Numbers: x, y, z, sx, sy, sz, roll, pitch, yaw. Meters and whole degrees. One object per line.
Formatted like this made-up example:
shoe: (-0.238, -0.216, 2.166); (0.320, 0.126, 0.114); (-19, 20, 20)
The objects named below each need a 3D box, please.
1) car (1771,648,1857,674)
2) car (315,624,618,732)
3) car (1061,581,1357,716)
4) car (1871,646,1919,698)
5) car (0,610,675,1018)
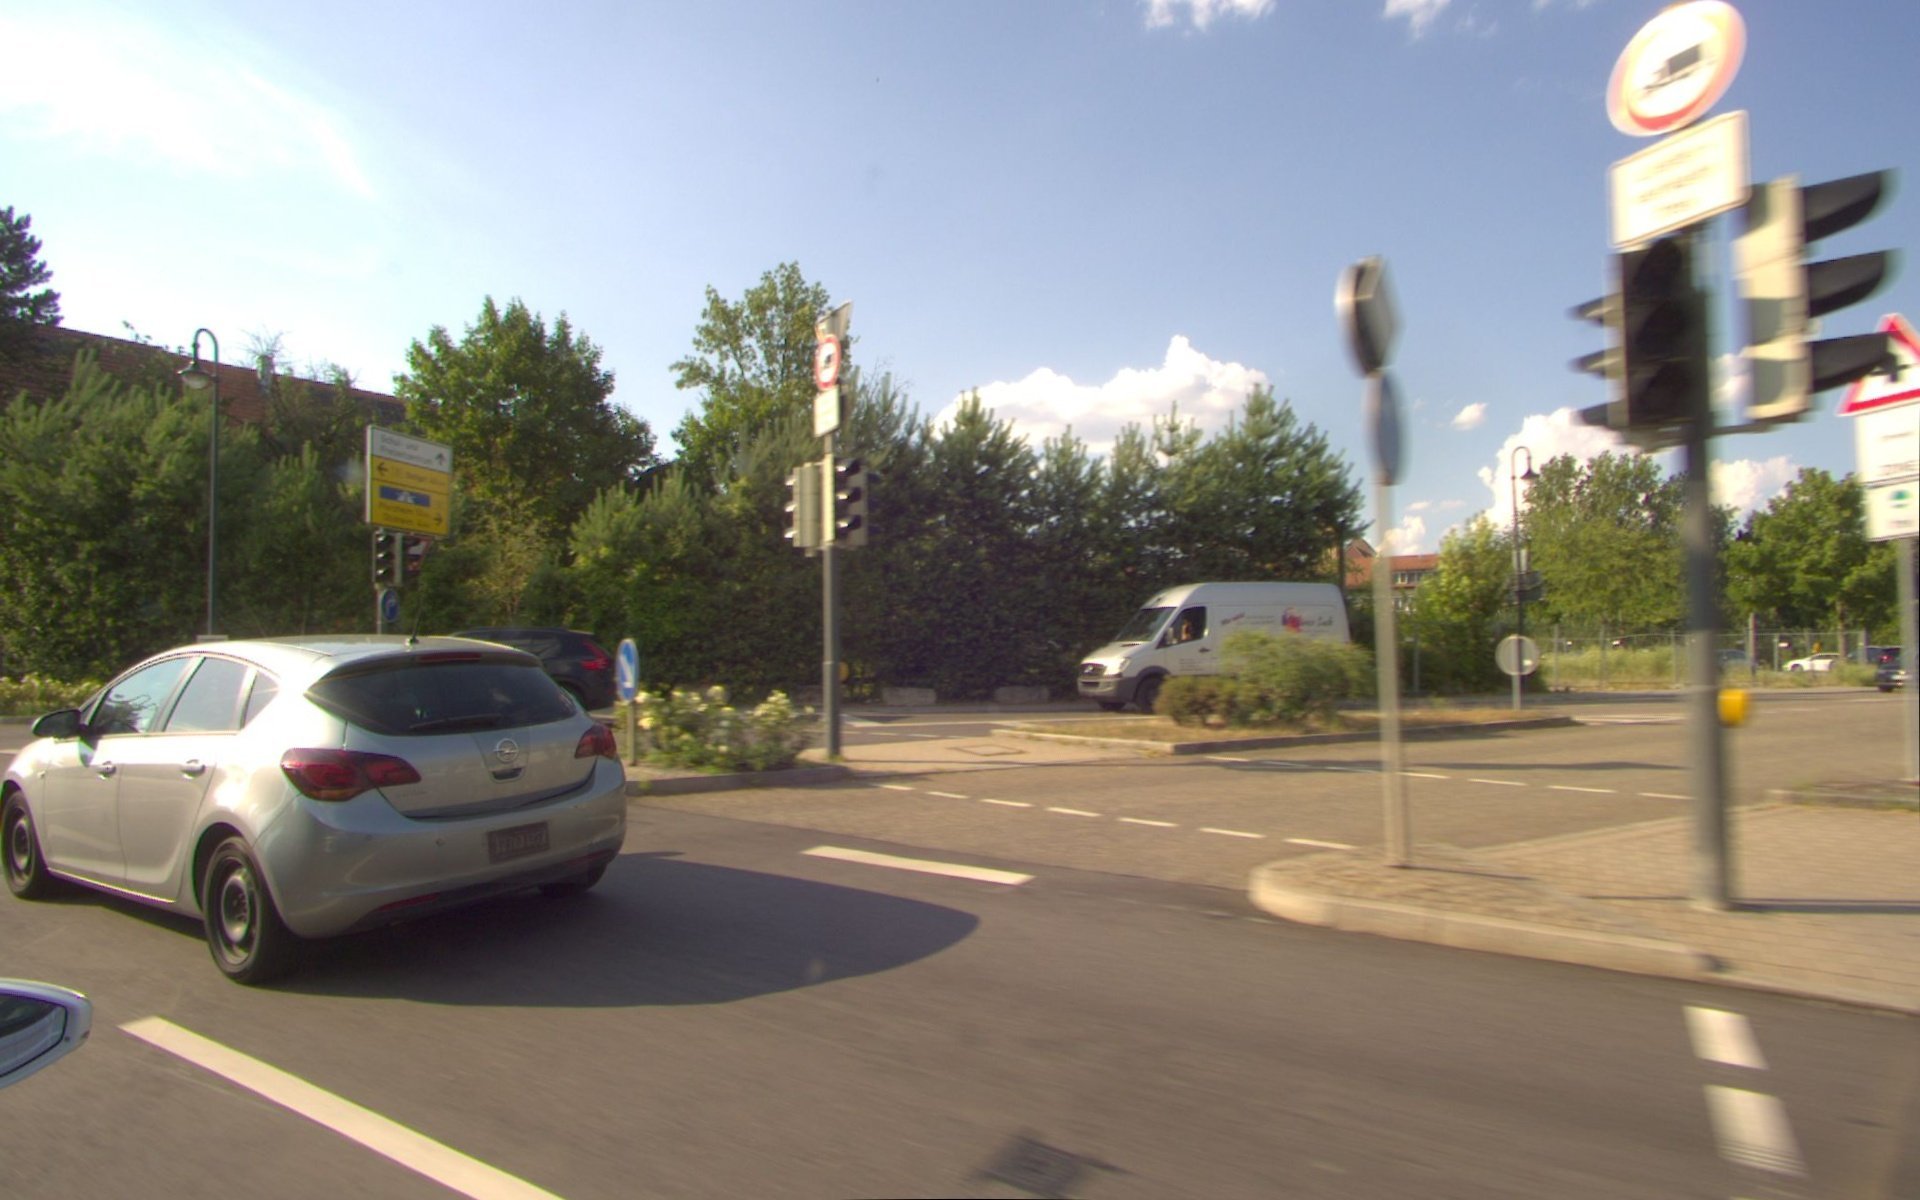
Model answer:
car: (60.485, 4.343, 71.003); (1.870, 1.744, 4.290); (0, -3, -35)
car: (-7.798, 1.195, 16.294); (4.196, 1.587, 1.789); (0, -1, -18)
car: (5.179, 0.972, 20.908); (5.759, 2.554, 2.190); (0, -1, -19)
car: (29.444, 2.137, 30.050); (3.939, 1.471, 1.851); (1, -2, -27)
car: (-3.714, 0.833, 5.583); (4.245, 1.509, 1.718); (-1, -1, 32)
